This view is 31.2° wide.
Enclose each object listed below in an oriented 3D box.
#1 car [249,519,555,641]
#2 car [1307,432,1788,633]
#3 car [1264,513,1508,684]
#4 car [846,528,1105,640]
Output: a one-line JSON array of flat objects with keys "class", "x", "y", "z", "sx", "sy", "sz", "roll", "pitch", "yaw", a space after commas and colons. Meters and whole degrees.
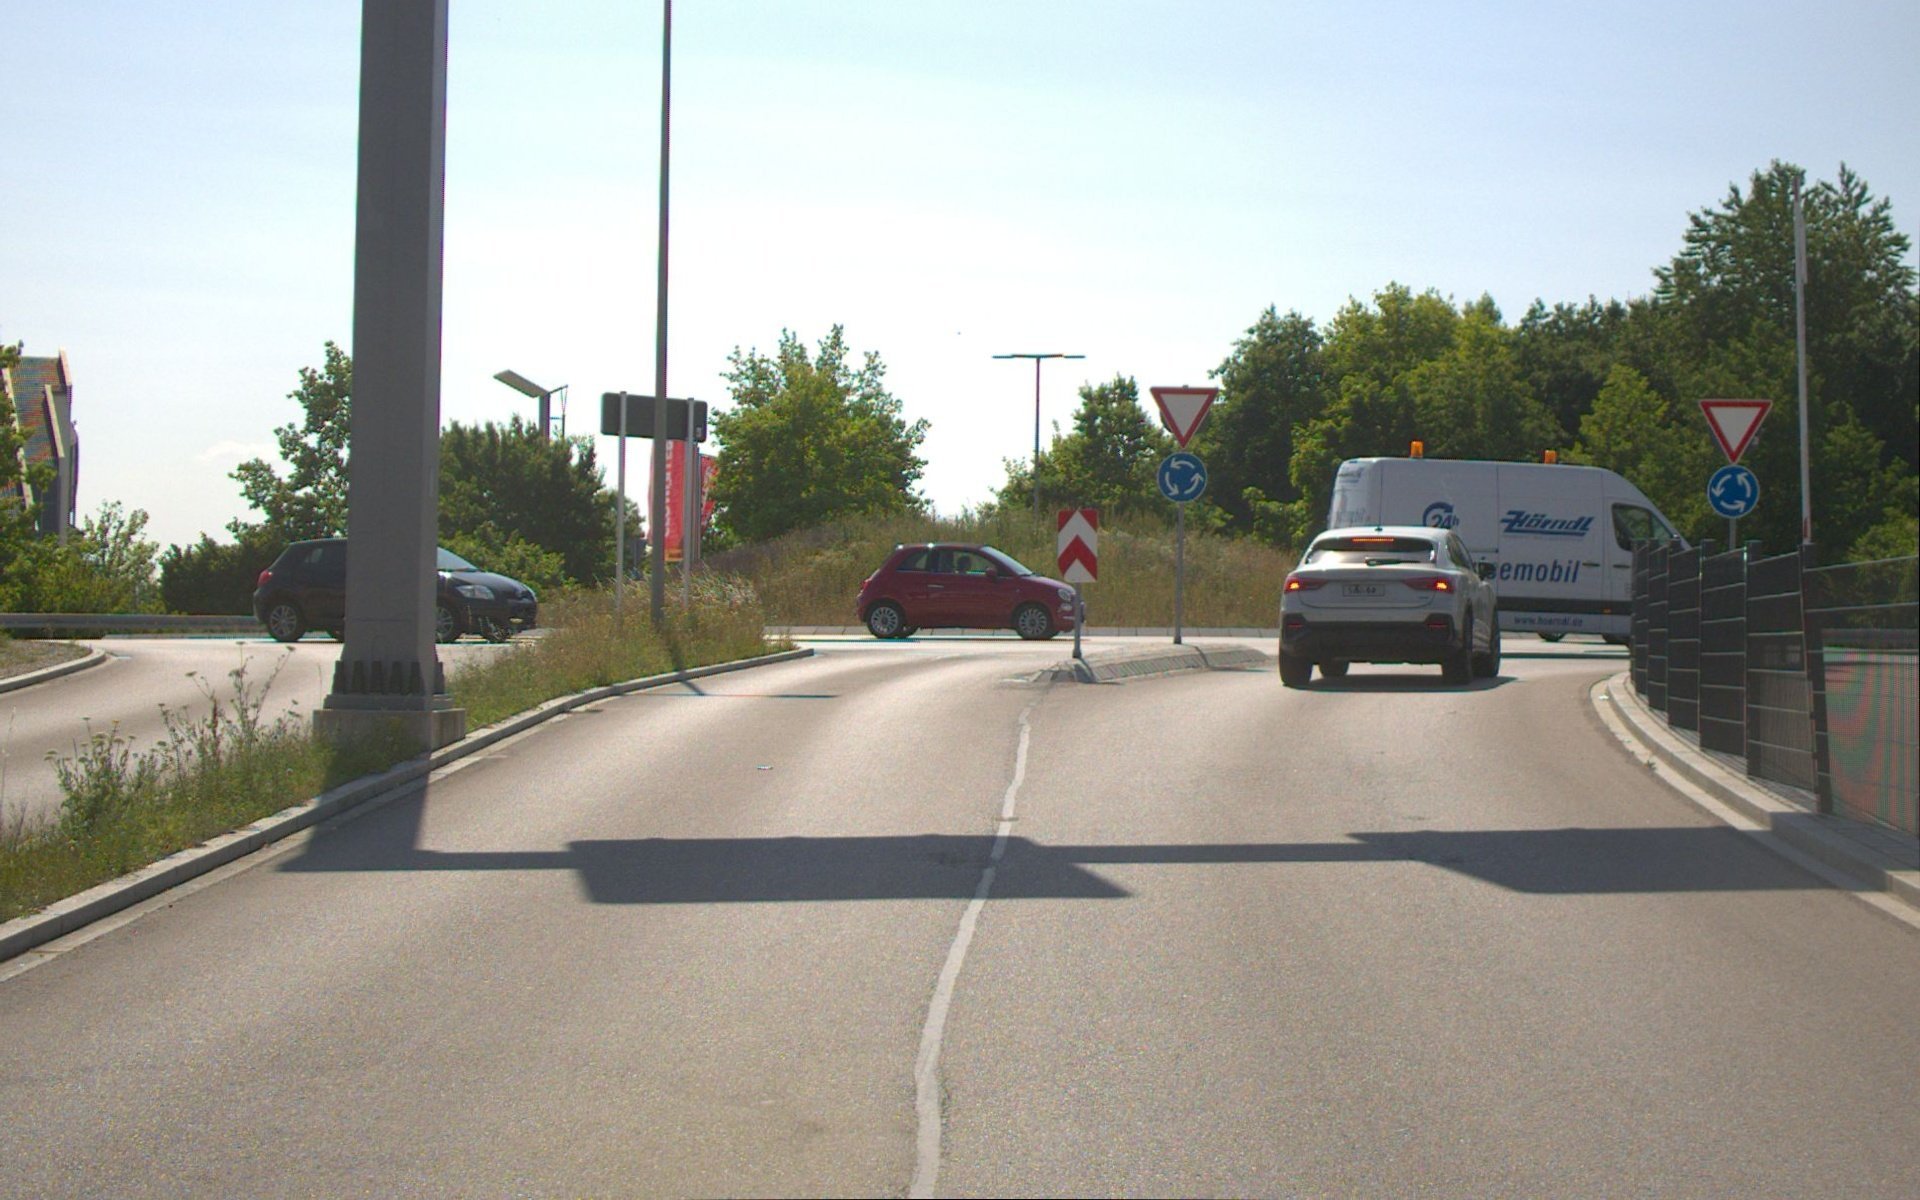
[{"class": "car", "x": -7.990, "y": -0.291, "z": 49.387, "sx": 3.950, "sy": 1.612, "sz": 1.818, "roll": 2, "pitch": 0, "yaw": 8}, {"class": "car", "x": 8.127, "y": -0.916, "z": 47.770, "sx": 6.171, "sy": 2.545, "sz": 2.091, "roll": 1, "pitch": 0, "yaw": -10}, {"class": "car", "x": 4.356, "y": -0.032, "z": 34.604, "sx": 1.842, "sy": 1.590, "sz": 4.322, "roll": 1, "pitch": 0, "yaw": 15}, {"class": "car", "x": 0.256, "y": -0.254, "z": 53.661, "sx": 3.724, "sy": 1.612, "sz": 1.872, "roll": 2, "pitch": 0, "yaw": 11}]
